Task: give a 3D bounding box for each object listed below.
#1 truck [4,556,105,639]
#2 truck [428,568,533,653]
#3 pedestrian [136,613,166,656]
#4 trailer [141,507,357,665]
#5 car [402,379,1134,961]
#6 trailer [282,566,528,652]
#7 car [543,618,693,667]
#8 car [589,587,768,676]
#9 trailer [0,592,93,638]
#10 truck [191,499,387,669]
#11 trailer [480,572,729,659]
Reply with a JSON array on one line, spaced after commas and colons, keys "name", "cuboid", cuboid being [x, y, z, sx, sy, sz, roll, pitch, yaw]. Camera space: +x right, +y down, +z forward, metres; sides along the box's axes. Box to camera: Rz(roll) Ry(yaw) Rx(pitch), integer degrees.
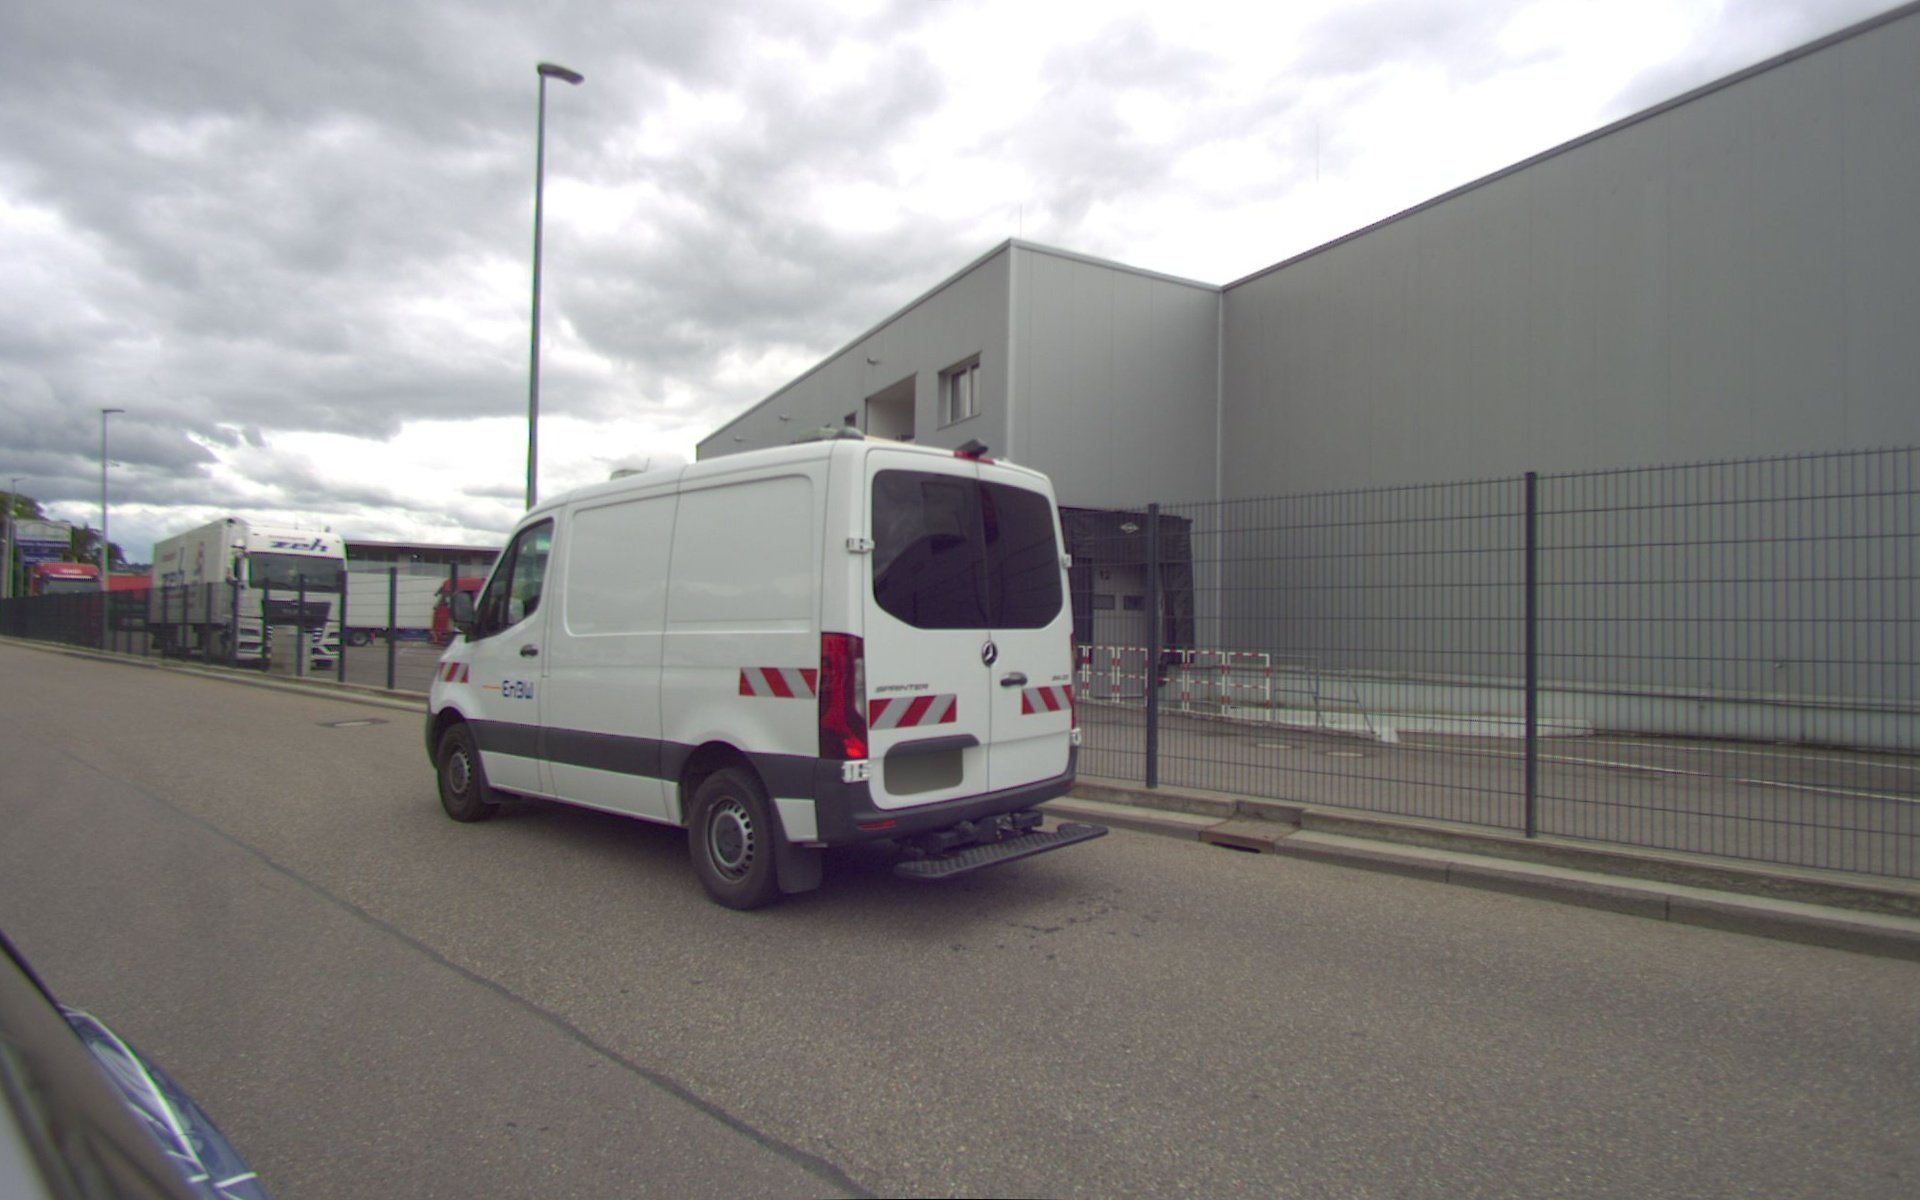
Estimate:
[{"name": "truck", "cuboid": [-46.137, -0.048, 51.525, 5.668, 3.878, 2.981, -1, -4, 42]}, {"name": "truck", "cuboid": [-26.072, 0.648, 55.108, 4.797, 4.237, 3.058, 4, -3, -26]}, {"name": "pedestrian", "cuboid": [-34.828, 1.464, 43.561, 0.879, 1.834, 0.795, -1, -2, 39]}, {"name": "trailer", "cuboid": [-23.848, -0.247, 33.391, 3.320, 4.192, 13.856, 5, -4, -45]}, {"name": "car", "cuboid": [-1.628, 0.334, 6.732, 5.254, 2.434, 1.973, -1, -2, 41]}, {"name": "trailer", "cuboid": [-31.437, 0.652, 57.906, 11.841, 4.164, 3.057, 4, -4, -30]}, {"name": "car", "cuboid": [-14.138, 1.764, 41.960, 5.595, 1.823, 1.950, 3, -3, -27]}, {"name": "car", "cuboid": [-9.327, 1.010, 33.599, 5.341, 2.751, 2.248, 0, -2, -30]}, {"name": "trailer", "cuboid": [-50.553, 0.814, 55.428, 12.045, 2.209, 3.006, 0, -4, 42]}, {"name": "truck", "cuboid": [-18.920, -0.312, 28.416, 3.321, 4.192, 5.630, 5, -4, -45]}, {"name": "trailer", "cuboid": [-20.176, 1.028, 58.030, 12.962, 4.245, 3.058, 4, -3, -26]}]
